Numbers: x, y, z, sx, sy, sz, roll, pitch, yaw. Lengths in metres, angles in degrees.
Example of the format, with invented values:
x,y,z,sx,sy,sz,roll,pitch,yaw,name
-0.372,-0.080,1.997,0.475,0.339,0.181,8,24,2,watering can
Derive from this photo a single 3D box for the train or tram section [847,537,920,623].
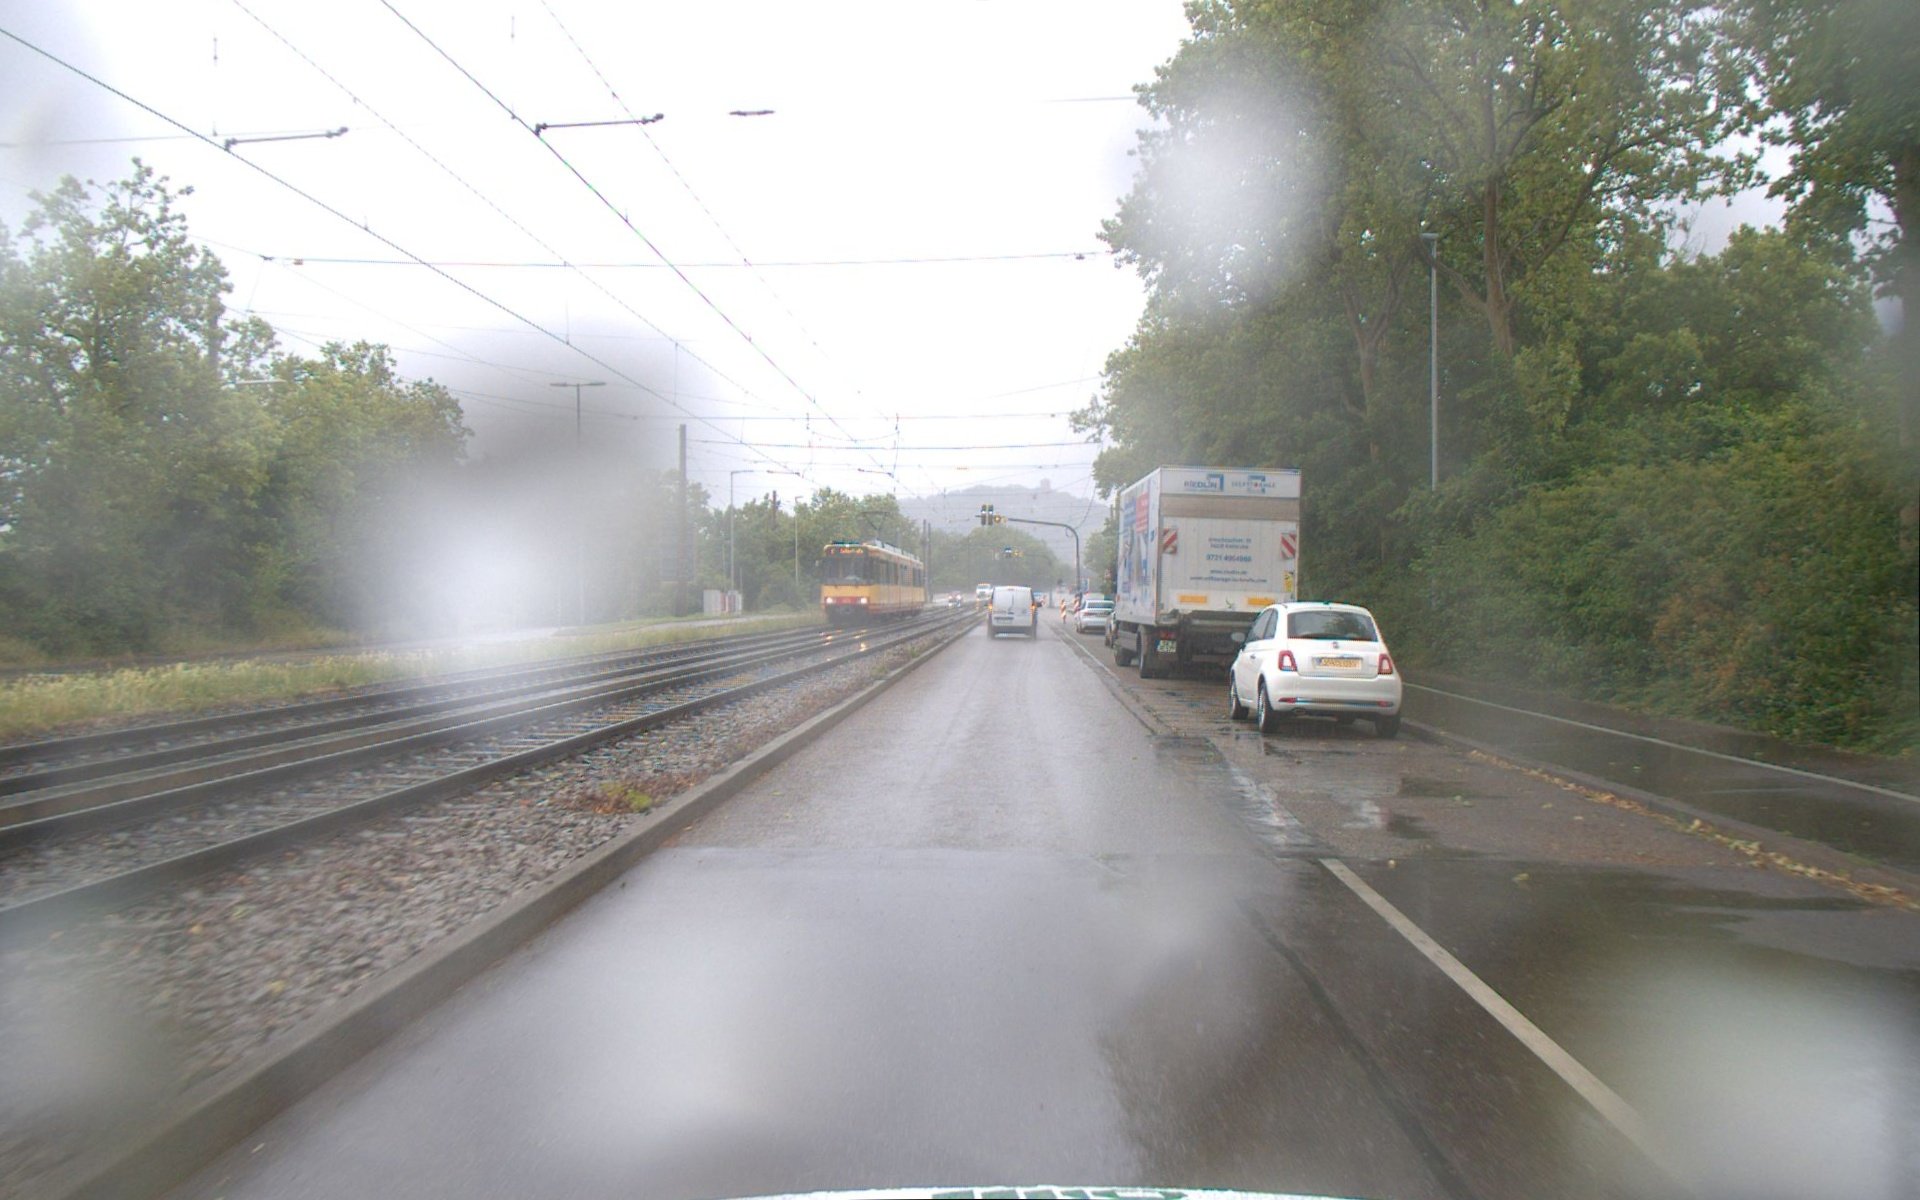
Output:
x,y,z,sx,sy,sz,roll,pitch,yaw,name
-3.976,-0.978,89.080,2.748,4.222,13.022,1,0,2,train or tram section

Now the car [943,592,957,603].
x,y,z,sx,sy,sz,roll,pitch,yaw,name
-1.304,-0.345,217.950,1.781,1.422,4.001,0,0,2,car

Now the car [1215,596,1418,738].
x,y,z,sx,sy,sz,roll,pitch,yaw,name
4.252,0.737,20.293,1.678,1.556,4.000,1,0,1,car

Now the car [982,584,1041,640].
x,y,z,sx,sy,sz,roll,pitch,yaw,name
1.774,0.409,58.299,1.952,1.881,4.000,1,0,0,car

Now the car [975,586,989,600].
x,y,z,sx,sy,sz,roll,pitch,yaw,name
3.374,-1.088,256.087,1.952,2.049,4.001,1,-1,3,car

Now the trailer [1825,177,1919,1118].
x,y,z,sx,sy,sz,roll,pitch,yaw,name
3.746,0.123,2.651,2.120,2.806,5.679,1,-1,5,trailer

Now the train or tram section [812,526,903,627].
x,y,z,sx,sy,sz,roll,pitch,yaw,name
-4.534,-0.986,76.050,2.748,4.222,13.023,1,0,2,train or tram section

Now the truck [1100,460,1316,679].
x,y,z,sx,sy,sz,roll,pitch,yaw,name
4.723,-0.478,33.596,2.719,3.769,9.849,1,-1,-1,truck

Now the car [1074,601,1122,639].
x,y,z,sx,sy,sz,roll,pitch,yaw,name
5.834,0.818,70.153,1.782,1.512,4.482,2,0,2,car
